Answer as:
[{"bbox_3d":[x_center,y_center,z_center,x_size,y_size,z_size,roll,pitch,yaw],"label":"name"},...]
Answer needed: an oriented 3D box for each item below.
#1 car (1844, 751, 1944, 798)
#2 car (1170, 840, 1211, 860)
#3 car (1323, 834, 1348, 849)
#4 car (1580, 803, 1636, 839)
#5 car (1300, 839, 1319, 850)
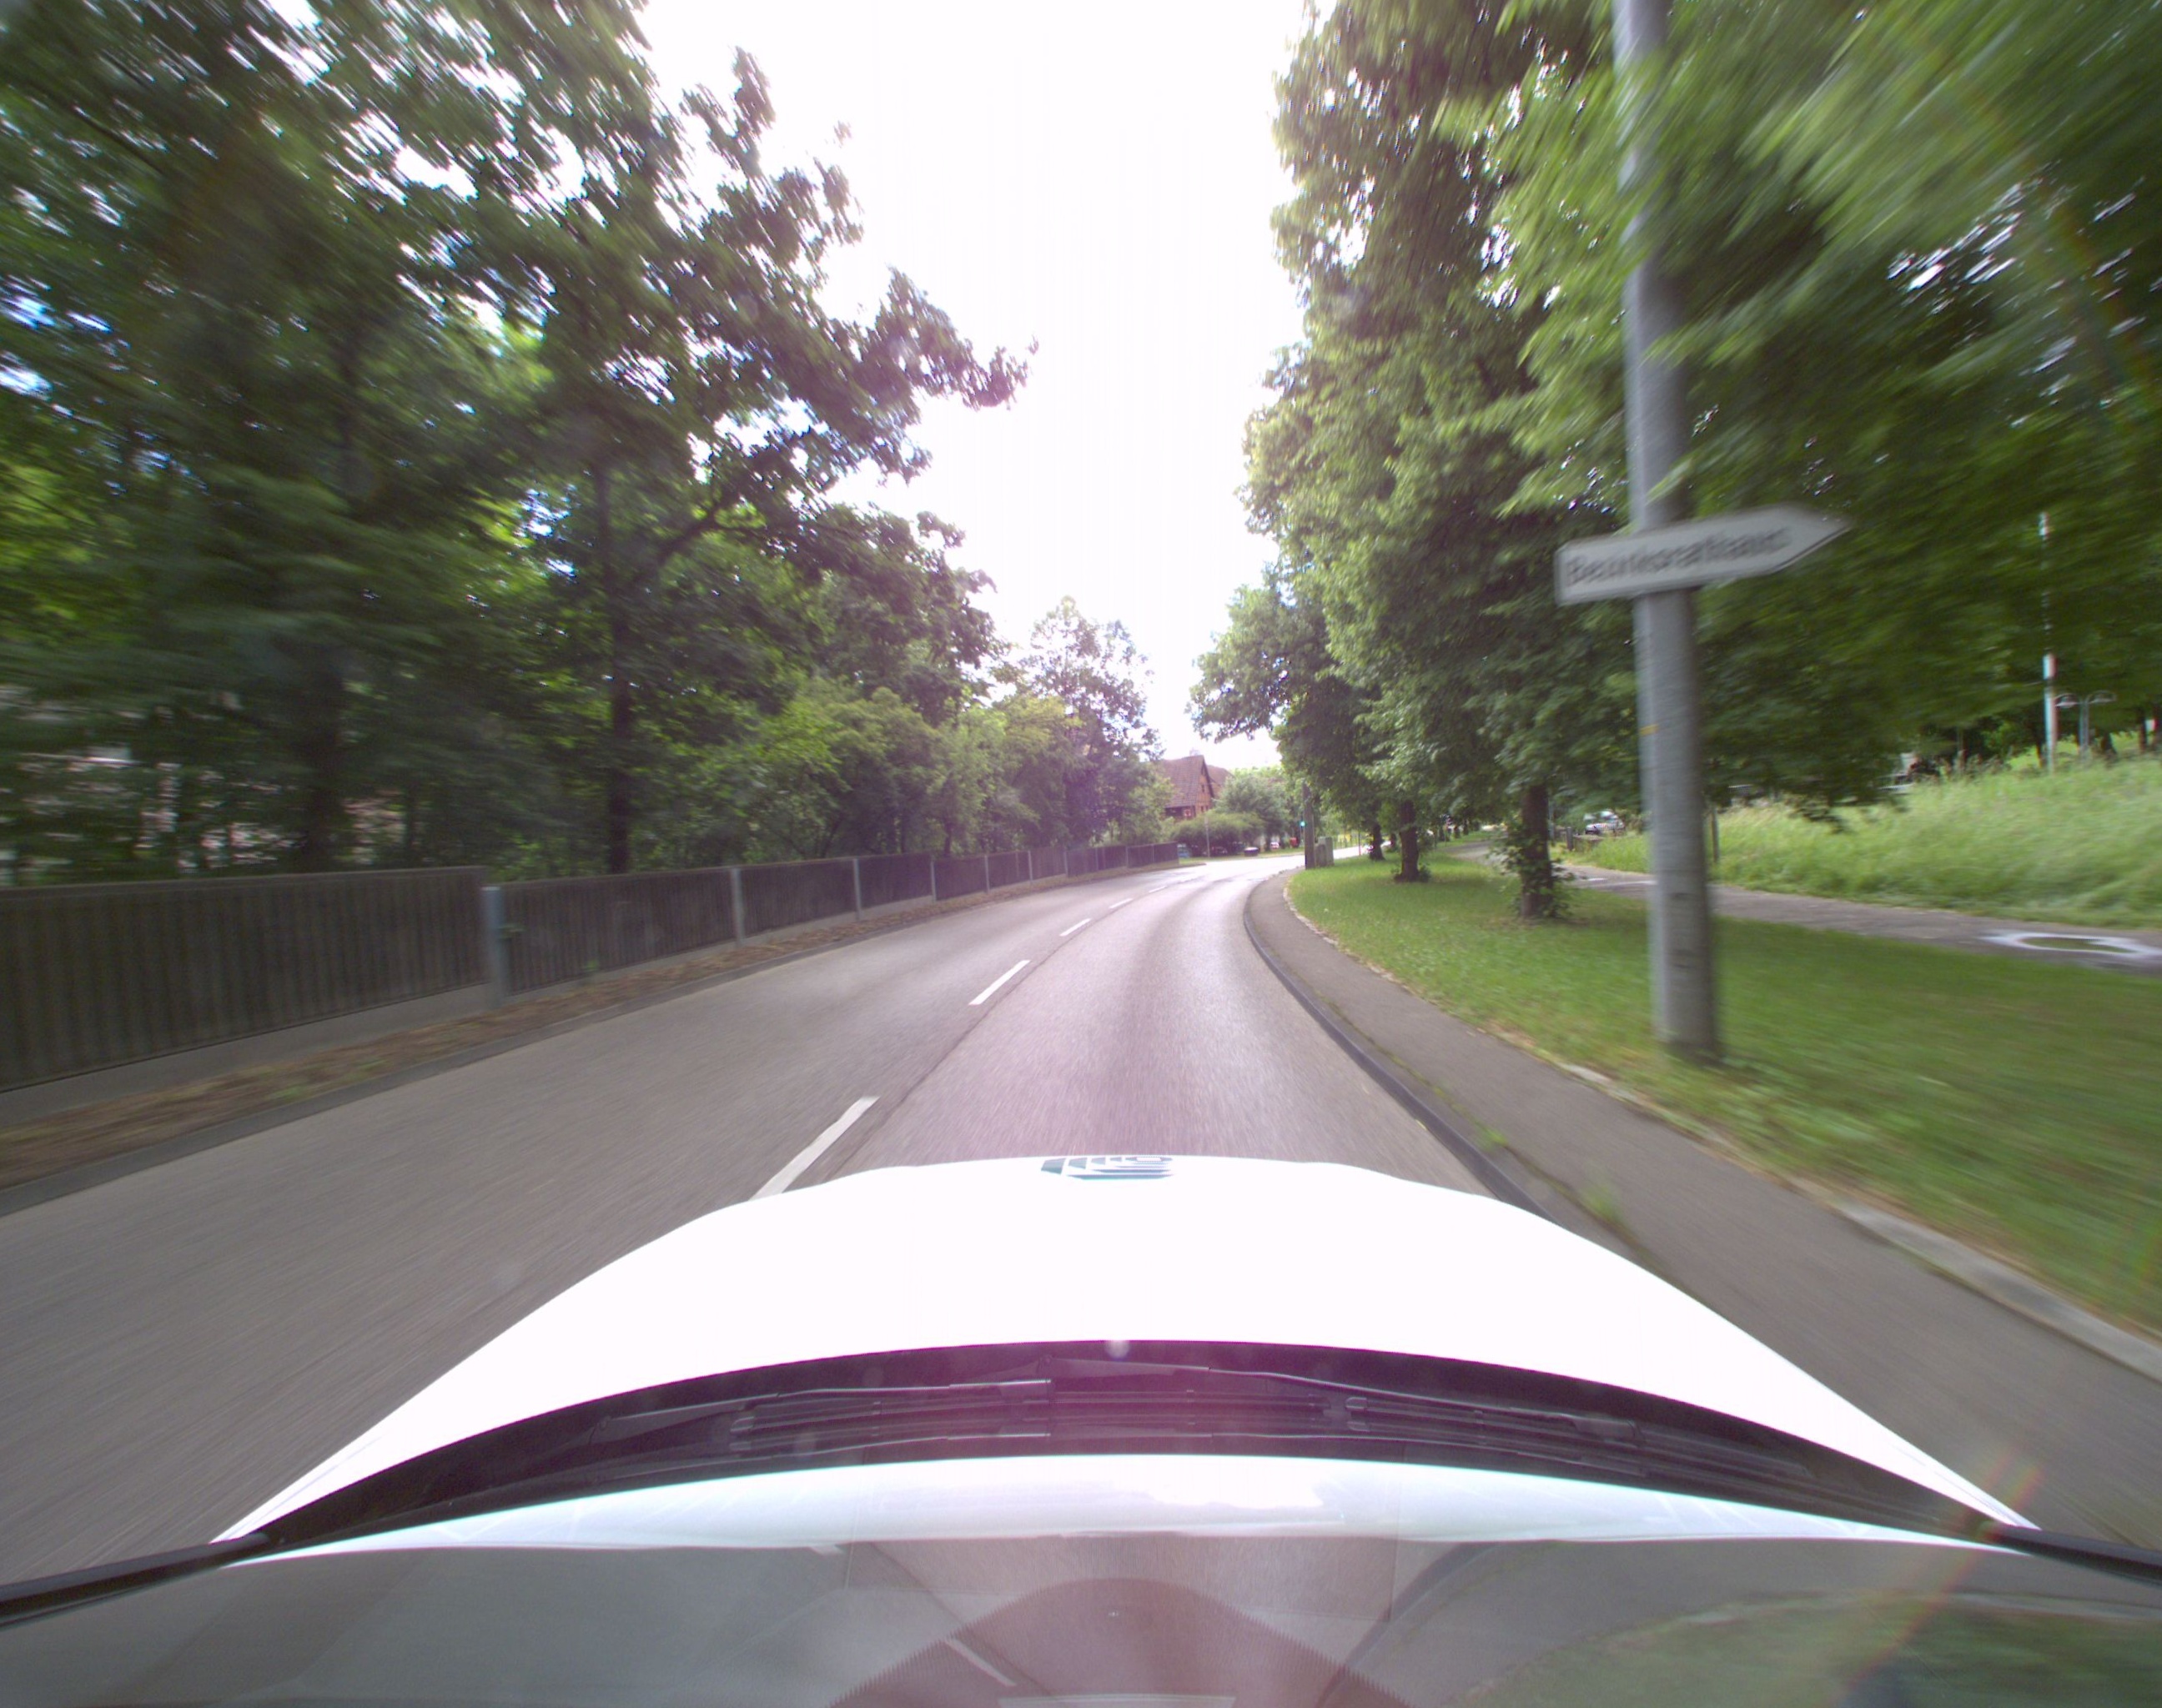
[{"bbox_3d":[36.343,-3.539,36.524,1.974,1.650,4.026,-8,1,29],"label":"car"},{"bbox_3d":[10.410,-0.372,77.245,1.974,1.618,4.476,-6,-1,32],"label":"car"},{"bbox_3d":[34.664,-1.698,110.967,1.902,1.695,4.026,-5,0,36],"label":"car"},{"bbox_3d":[26.108,-1.664,40.480,1.888,1.430,4.495,-6,2,29],"label":"car"},{"bbox_3d":[29.249,-1.210,104.259,1.537,1.278,2.571,-5,-1,36],"label":"car"}]
